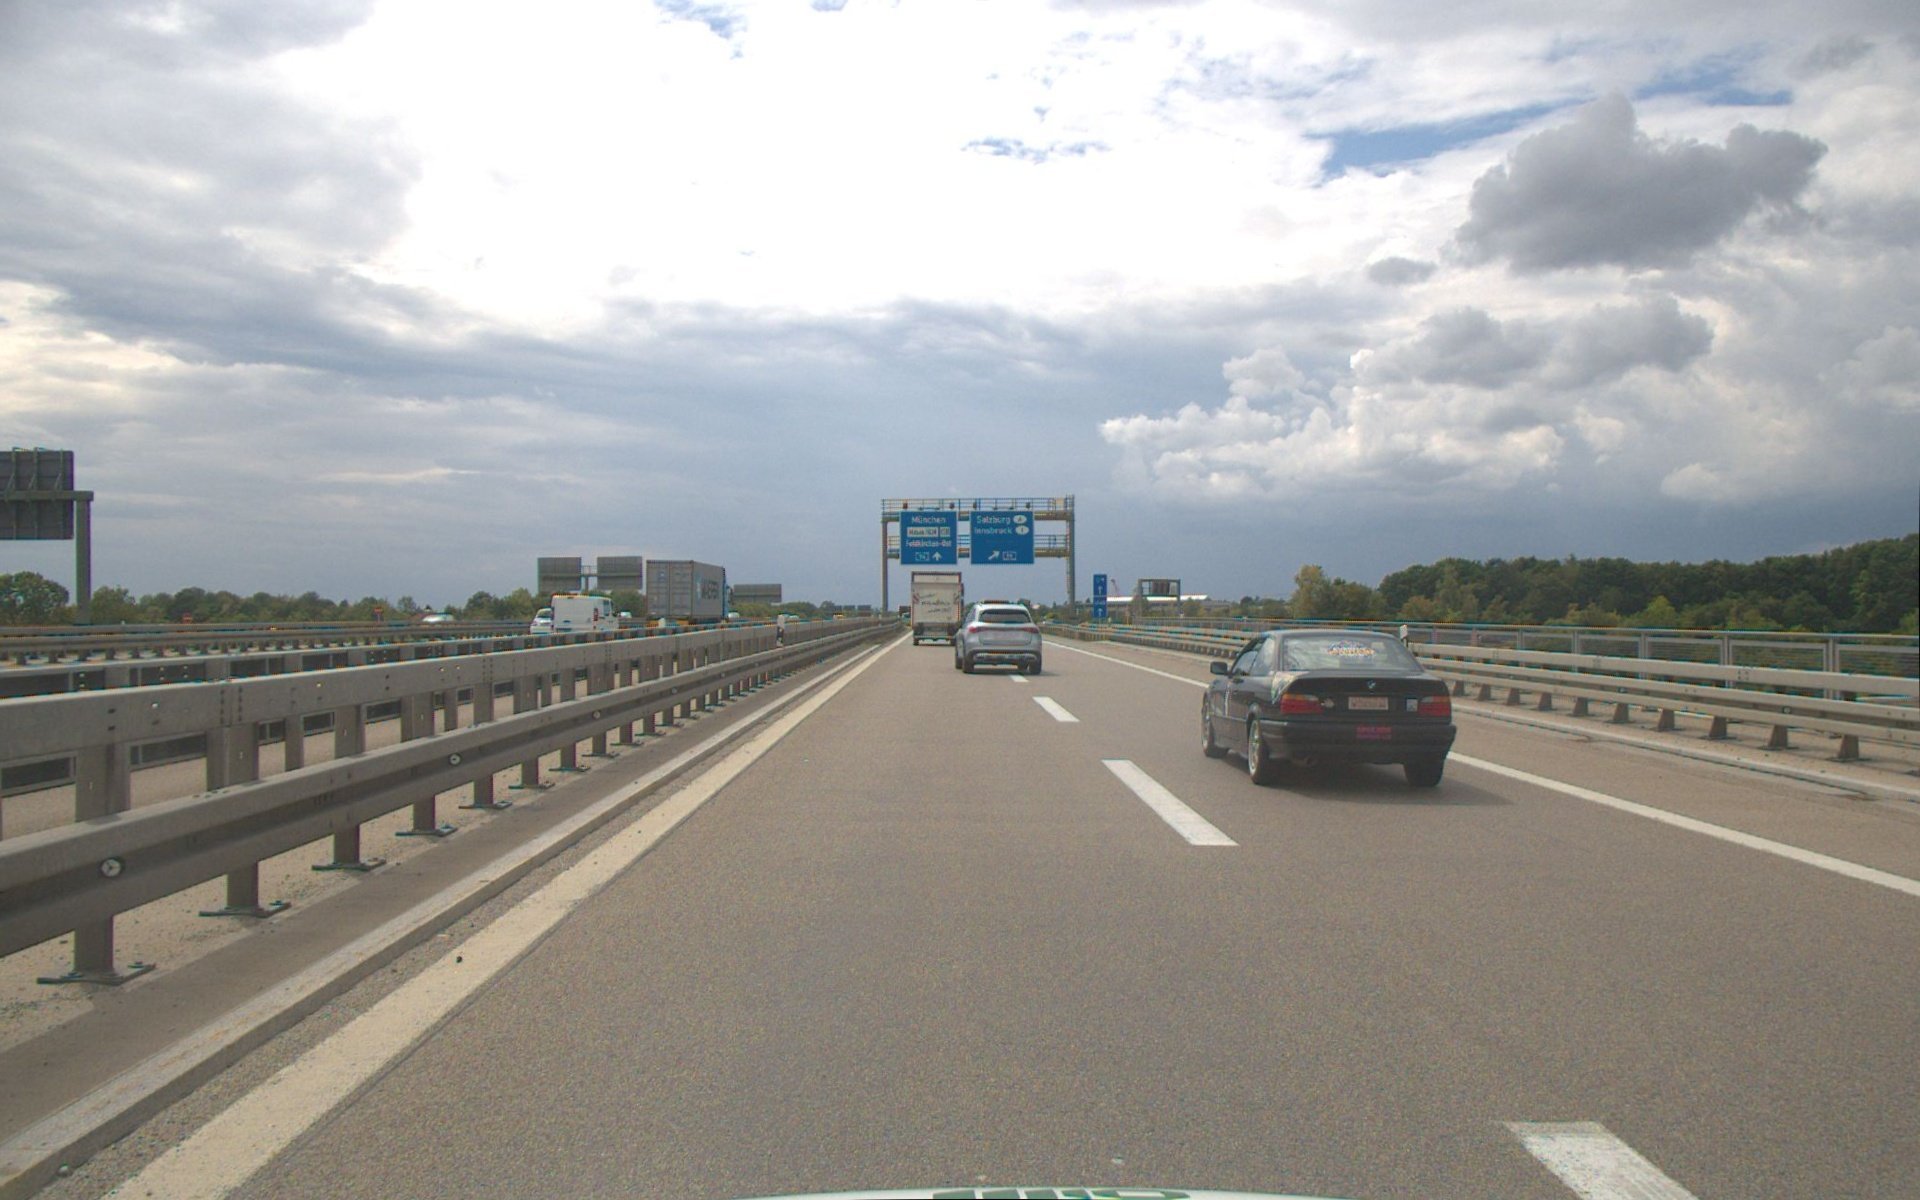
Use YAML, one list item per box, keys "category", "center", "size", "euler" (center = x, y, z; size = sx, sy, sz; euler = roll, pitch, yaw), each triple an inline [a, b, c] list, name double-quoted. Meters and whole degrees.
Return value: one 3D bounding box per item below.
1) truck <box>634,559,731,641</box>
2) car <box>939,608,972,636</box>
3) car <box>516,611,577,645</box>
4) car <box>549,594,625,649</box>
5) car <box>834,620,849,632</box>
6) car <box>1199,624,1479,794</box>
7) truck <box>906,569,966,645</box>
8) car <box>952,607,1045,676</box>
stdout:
- category: "truck"
  center: [-15.170, 0.000, 91.811]
  size: [3.119, 4.089, 16.068]
  euler: [1, 0, -2]
- category: "car"
  center: [-0.288, 1.290, 97.746]
  size: [1.846, 1.579, 3.999]
  euler: [1, 0, -1]
- category: "car"
  center: [-19.078, 1.280, 76.495]
  size: [1.761, 1.444, 4.000]
  euler: [1, 0, 1]
- category: "car"
  center: [-14.369, 0.808, 63.902]
  size: [1.953, 2.049, 4.373]
  euler: [1, 0, -1]
- category: "car"
  center: [-16.005, 3.508, 223.595]
  size: [1.790, 1.590, 4.000]
  euler: [0, 0, 0]
- category: "car"
  center: [3.400, 0.918, 15.636]
  size: [1.669, 1.303, 4.366]
  euler: [1, 0, 1]
- category: "truck"
  center: [-1.099, 0.416, 74.866]
  size: [2.517, 3.181, 8.631]
  euler: [1, -1, -1]
- category: "car"
  center: [0.870, 0.960, 40.061]
  size: [1.784, 1.541, 3.995]
  euler: [1, 0, -5]
